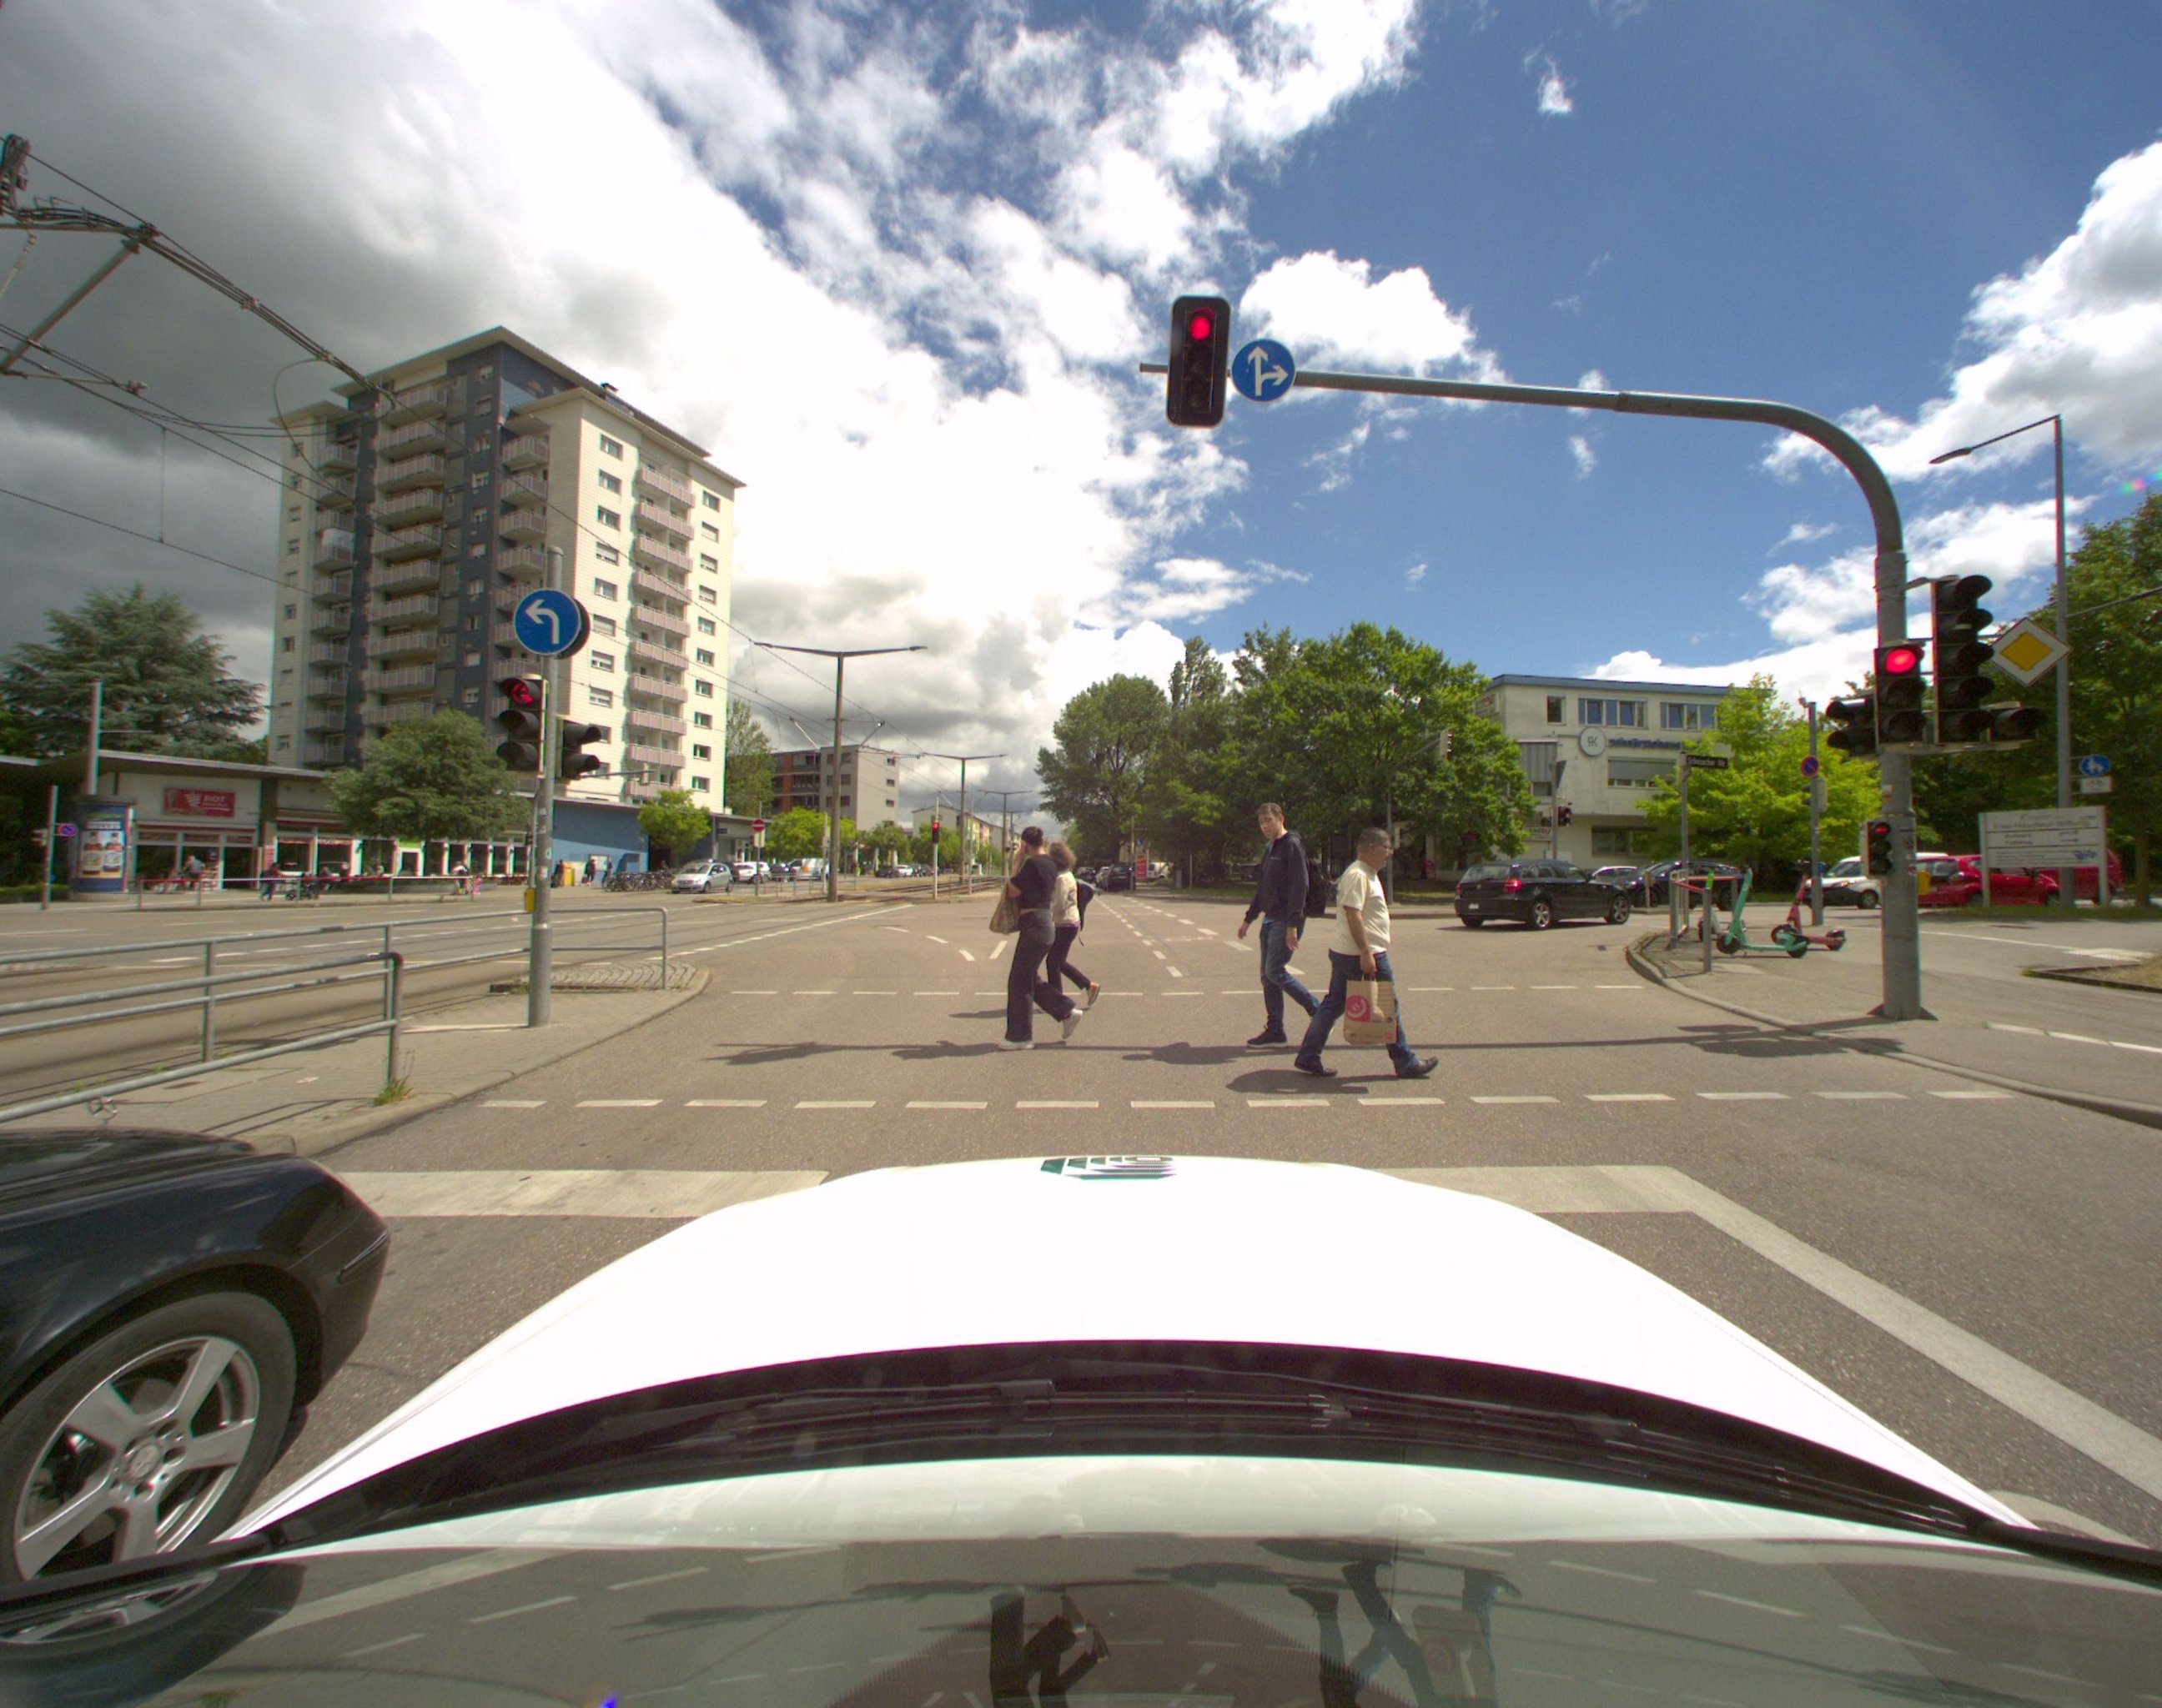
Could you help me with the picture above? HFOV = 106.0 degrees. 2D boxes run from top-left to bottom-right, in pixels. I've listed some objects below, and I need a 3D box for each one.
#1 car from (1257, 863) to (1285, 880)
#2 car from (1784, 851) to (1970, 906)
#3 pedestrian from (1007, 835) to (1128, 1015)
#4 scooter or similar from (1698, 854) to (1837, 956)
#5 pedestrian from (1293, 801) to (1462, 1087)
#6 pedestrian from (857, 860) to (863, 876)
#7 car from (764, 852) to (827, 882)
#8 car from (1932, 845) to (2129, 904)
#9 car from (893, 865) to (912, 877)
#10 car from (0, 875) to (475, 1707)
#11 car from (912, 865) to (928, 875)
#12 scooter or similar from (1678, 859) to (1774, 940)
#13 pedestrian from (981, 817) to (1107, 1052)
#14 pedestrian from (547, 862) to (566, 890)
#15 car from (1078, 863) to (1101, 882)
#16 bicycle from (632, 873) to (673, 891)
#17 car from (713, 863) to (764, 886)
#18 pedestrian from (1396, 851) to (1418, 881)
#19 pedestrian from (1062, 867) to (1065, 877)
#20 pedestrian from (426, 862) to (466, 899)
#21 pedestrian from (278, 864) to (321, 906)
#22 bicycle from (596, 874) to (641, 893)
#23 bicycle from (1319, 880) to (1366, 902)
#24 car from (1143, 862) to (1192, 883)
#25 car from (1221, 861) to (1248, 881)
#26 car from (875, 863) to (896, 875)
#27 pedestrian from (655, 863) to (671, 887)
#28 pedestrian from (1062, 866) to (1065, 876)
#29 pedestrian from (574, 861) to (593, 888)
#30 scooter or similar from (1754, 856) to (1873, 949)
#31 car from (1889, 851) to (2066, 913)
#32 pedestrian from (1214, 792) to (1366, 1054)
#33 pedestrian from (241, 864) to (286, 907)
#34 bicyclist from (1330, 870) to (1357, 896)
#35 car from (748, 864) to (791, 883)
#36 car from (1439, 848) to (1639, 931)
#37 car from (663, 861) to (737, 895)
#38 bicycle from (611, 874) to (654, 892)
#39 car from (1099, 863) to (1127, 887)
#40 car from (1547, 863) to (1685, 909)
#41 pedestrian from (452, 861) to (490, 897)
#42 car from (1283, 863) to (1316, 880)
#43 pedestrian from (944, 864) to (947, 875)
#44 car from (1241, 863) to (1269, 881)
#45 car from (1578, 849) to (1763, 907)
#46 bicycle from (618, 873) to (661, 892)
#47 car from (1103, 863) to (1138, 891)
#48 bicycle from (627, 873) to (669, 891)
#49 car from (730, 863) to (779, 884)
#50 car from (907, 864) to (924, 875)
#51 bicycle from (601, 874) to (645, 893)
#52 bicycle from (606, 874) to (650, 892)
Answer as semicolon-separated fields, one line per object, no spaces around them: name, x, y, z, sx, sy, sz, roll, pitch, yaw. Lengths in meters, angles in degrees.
car;17.766;1.619;76.318;1.626;1.595;3.998;0;0;-1
car;26.061;0.768;26.738;4.555;1.717;1.995;0;0;-8
pedestrian;-0.116;0.676;8.135;0.945;1.674;0.874;-2;-1;16
scooter or similar;8.854;0.644;10.531;1.336;1.277;0.463;0;0;8
pedestrian;1.981;0.571;5.545;0.866;1.808;0.741;0;0;-2
pedestrian;-23.905;1.497;88.077;0.547;1.716;0.667;0;-1;-8
car;-24.689;1.077;70.202;2.848;2.478;6.641;0;-1;-42
car;31.751;0.673;27.303;4.800;1.864;1.994;0;-2;-8
car;-21.675;2.047;99.177;1.758;1.395;3.993;0;0;-5
car;-2.755;0.785;0.178;1.721;1.461;4.546;0;0;2
car;-21.818;2.163;110.344;1.758;1.395;3.993;0;0;-5
scooter or similar;9.756;0.676;12.319;1.360;1.156;0.540;1;0;-23
pedestrian;-0.322;0.606;6.589;0.933;1.765;0.769;0;0;-10
pedestrian;-30.245;1.260;46.998;0.770;1.615;0.693;0;-1;-21
car;0.809;1.686;74.713;1.986;1.684;4.002;0;0;2
bicycle;-23.341;1.520;44.374;1.943;0.935;0.494;0;-1;-5
car;-24.676;1.449;58.670;4.165;1.570;1.973;-1;-1;45
pedestrian;18.113;0.644;45.289;0.769;1.643;0.903;0;-1;-13
pedestrian;-2.808;2.858;132.488;0.334;1.627;0.356;0;-1;-16
pedestrian;-29.141;1.227;37.371;0.936;1.659;1.105;-1;-1;22
pedestrian;-31.943;1.248;33.275;0.957;1.659;1.002;-2;-1;27
bicycle;-23.443;1.490;41.318;1.943;0.935;0.494;0;-1;-5
bicycle;10.548;1.475;32.906;0.795;0.819;1.794;0;0;-24
car;7.764;1.615;73.291;4.001;1.823;1.766;0;-1;-21
car;13.957;1.518;74.372;1.626;1.811;4.030;0;0;-1
car;-22.007;1.677;91.720;1.758;1.395;3.993;0;0;-5
pedestrian;-28.293;1.406;55.146;0.768;1.615;0.695;0;-1;-14
pedestrian;-2.819;2.797;132.591;0.477;1.637;0.454;0;-1;1
pedestrian;-30.084;1.221;49.260;0.767;1.615;0.695;0;-1;-12
scooter or similar;10.241;0.664;11.407;1.225;1.240;0.555;2;0;-7
car;22.162;0.659;20.171;3.187;1.441;1.541;0;0;-12
pedestrian;1.631;0.510;6.508;0.963;1.942;0.896;0;0;-3
pedestrian;-32.328;1.240;32.208;0.957;1.659;1.002;-2;-1;27
bicyclist;10.581;1.162;32.831;0.795;1.022;0.631;1;-1;-25
car;-24.864;1.512;64.954;1.800;1.420;4.166;0;-1;-43
car;9.626;0.684;17.068;4.010;1.487;1.742;-2;-1;-28
car;-19.810;1.209;42.570;1.930;1.693;3.874;0;0;2
bicycle;-23.528;1.506;42.766;1.943;0.935;0.494;0;-1;-5
car;2.329;1.544;59.337;1.986;1.684;4.001;0;-1;2
car;19.434;1.130;29.676;3.906;1.556;1.994;0;0;-9
pedestrian;-28.881;1.176;38.561;0.936;1.659;1.105;-1;-1;22
car;20.566;1.613;76.680;1.728;1.595;3.992;0;0;-5
pedestrian;-21.157;2.458;127.233;0.451;1.637;0.480;0;-1;-1
car;15.985;1.642;75.021;1.626;1.573;4.030;0;0;-1
car;18.455;0.734;25.634;4.551;1.717;1.996;0;0;-5
bicycle;-23.487;1.511;43.315;1.943;0.935;0.494;0;-1;-5
car;2.489;1.439;51.882;2.144;1.684;4.001;0;-1;2
bicycle;-23.314;1.515;43.864;1.943;0.935;0.494;0;-1;-5
car;-24.858;1.432;61.936;4.165;1.538;1.973;-1;-1;45
car;-21.464;2.023;105.770;1.758;1.395;3.993;0;0;-5
bicycle;-23.479;1.495;41.784;1.943;0.935;0.494;0;-1;-5
bicycle;-23.504;1.500;42.290;1.943;0.935;0.494;0;-1;-5
